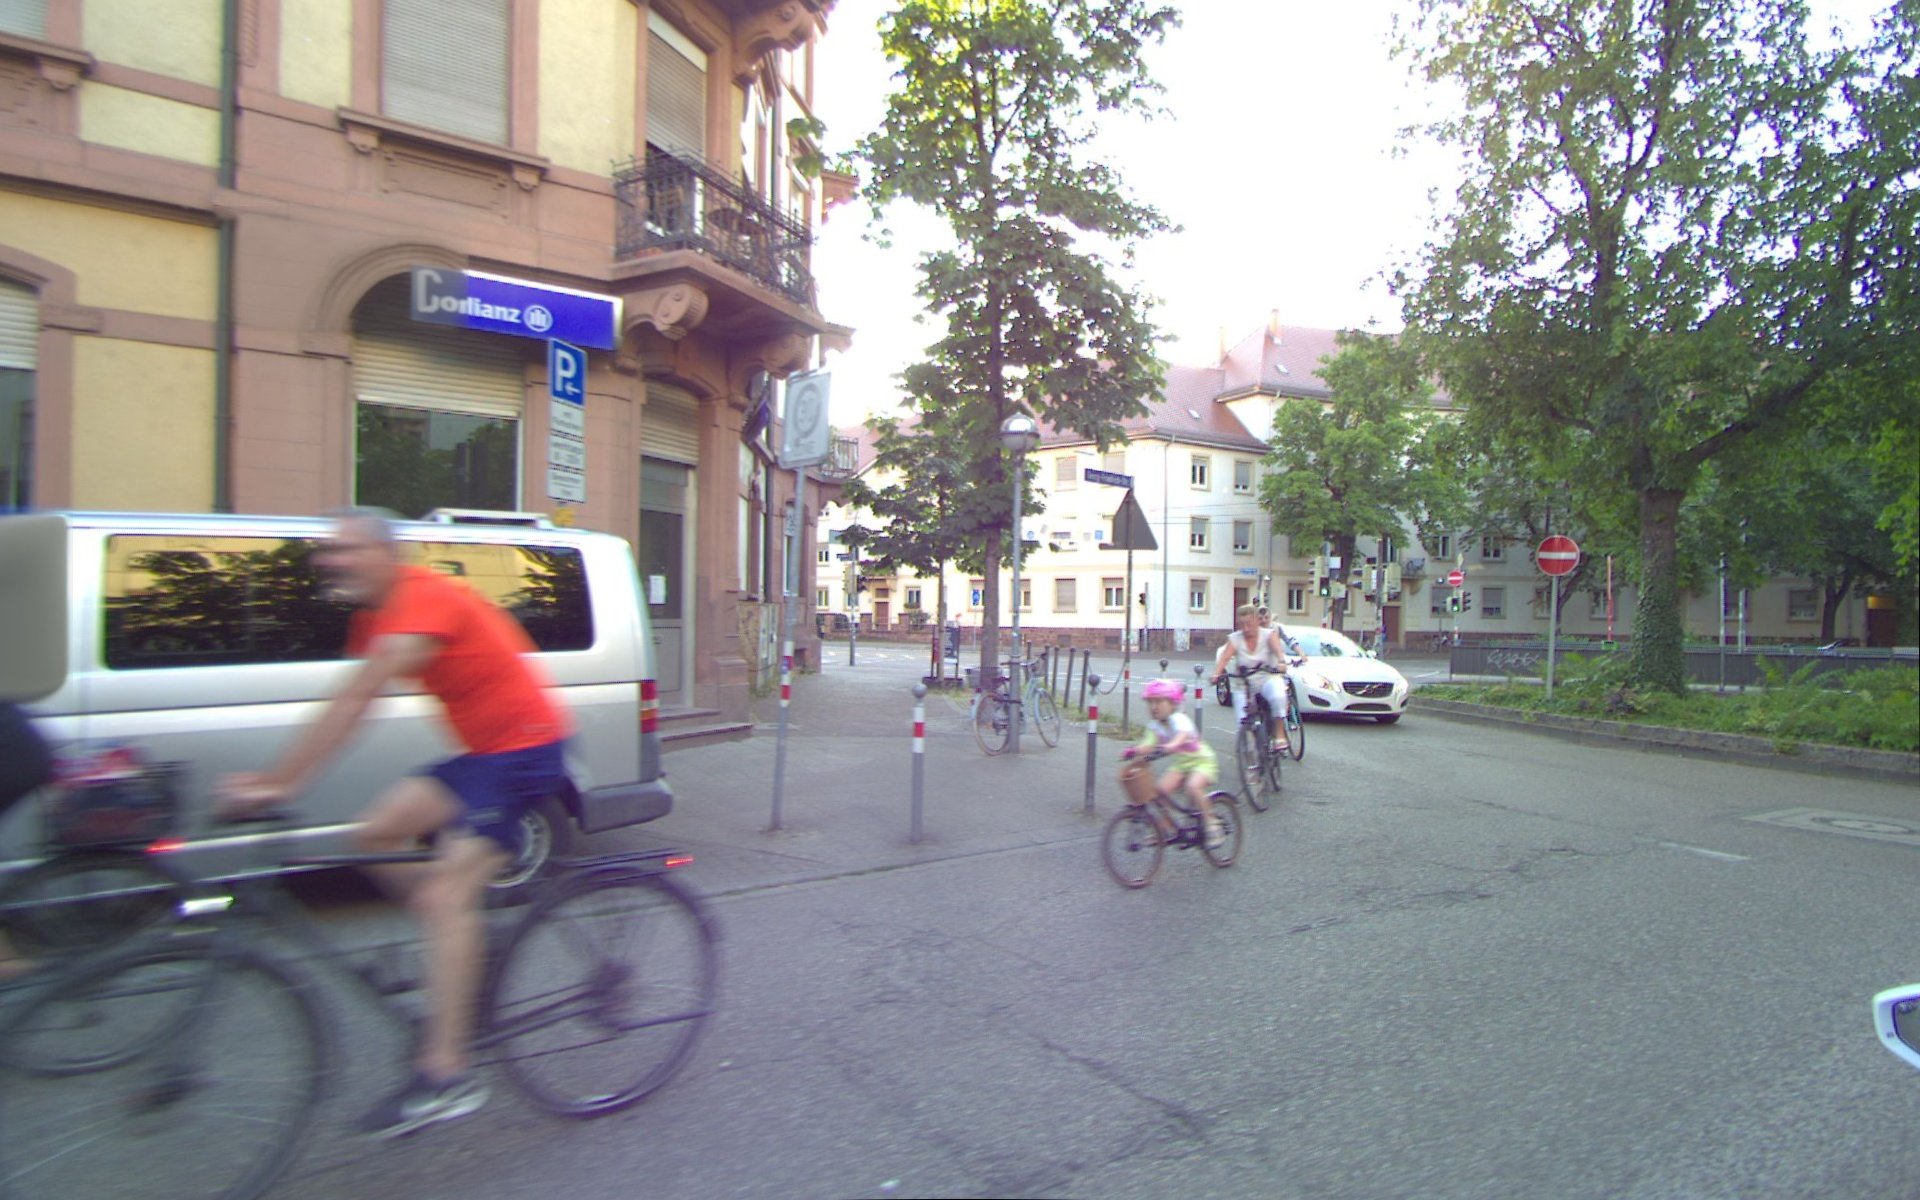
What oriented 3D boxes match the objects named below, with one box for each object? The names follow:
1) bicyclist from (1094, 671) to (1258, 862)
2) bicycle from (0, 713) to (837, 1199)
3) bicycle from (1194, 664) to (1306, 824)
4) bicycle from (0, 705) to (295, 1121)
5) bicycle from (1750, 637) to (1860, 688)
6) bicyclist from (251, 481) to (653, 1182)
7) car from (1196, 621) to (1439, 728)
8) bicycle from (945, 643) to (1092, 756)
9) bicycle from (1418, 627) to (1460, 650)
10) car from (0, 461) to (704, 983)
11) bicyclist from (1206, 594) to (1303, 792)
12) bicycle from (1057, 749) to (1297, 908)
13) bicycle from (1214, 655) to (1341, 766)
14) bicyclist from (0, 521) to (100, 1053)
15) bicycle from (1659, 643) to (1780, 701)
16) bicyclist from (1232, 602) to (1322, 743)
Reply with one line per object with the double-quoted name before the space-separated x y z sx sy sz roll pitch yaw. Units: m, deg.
"bicyclist" 1.281 0.944 5.959 0.724 0.990 0.641 1 -1 -39
"bicycle" -1.363 0.951 2.762 1.997 1.122 0.644 1 -1 -39
"bicycle" 2.541 1.154 8.648 0.715 1.109 2.047 0 -1 22
"bicycle" -3.235 0.951 3.054 1.993 1.122 0.716 1 -1 -33
"bicycle" 18.689 1.363 22.260 1.825 1.065 0.544 0 -1 36
"bicyclist" -1.384 0.518 2.745 0.859 1.546 0.647 1 -1 -38
"car" 5.819 1.143 17.123 1.963 1.537 4.836 1 -1 -7
"bicycle" 0.675 1.045 11.016 0.553 1.097 1.787 2 0 44
"bicycle" 25.091 2.016 52.662 1.881 1.167 0.686 1 -1 1
"car" -4.046 0.474 5.066 4.950 2.084 2.029 1 1 -33
"bicyclist" 2.563 0.761 8.703 0.712 1.604 0.875 0 -1 22
"bicycle" 1.318 1.308 5.988 1.451 0.651 0.644 1 -1 -39
"bicycle" 3.634 1.230 11.648 0.673 1.109 1.806 1 -1 -9
"bicyclist" -3.247 0.541 3.046 0.858 1.546 0.709 1 -1 -33
"bicycle" 16.705 1.563 22.165 2.080 1.167 0.684 0 -1 35
"bicyclist" 3.642 0.813 11.605 0.666 1.565 0.874 1 -1 -9
